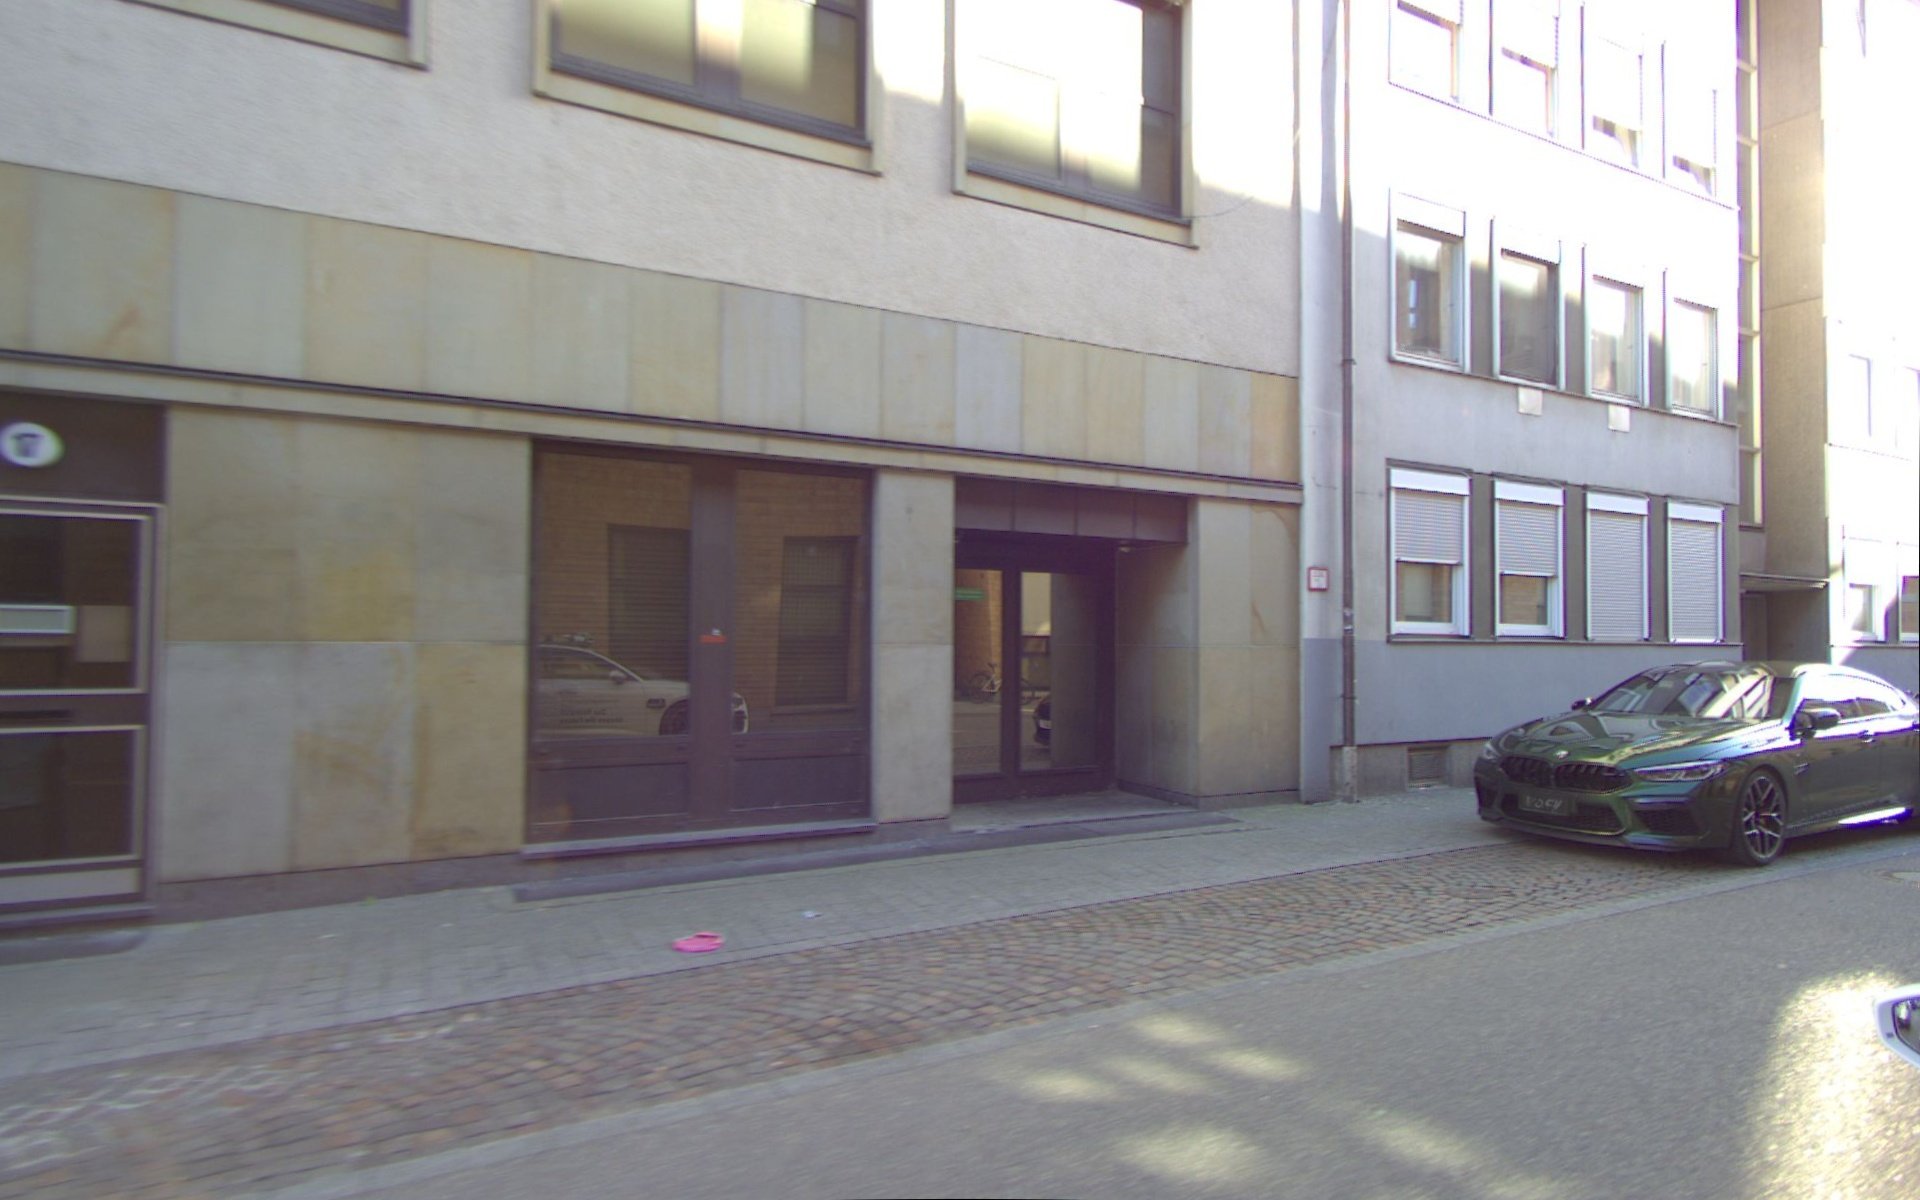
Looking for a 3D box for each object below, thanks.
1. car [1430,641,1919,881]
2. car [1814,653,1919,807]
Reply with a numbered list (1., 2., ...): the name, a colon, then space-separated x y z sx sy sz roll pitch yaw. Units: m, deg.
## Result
1. car: 6.364 1.156 8.465 4.669 1.549 1.884 1 -5 -28
2. car: 11.682 1.366 11.108 4.283 1.550 1.884 1 -3 -27
